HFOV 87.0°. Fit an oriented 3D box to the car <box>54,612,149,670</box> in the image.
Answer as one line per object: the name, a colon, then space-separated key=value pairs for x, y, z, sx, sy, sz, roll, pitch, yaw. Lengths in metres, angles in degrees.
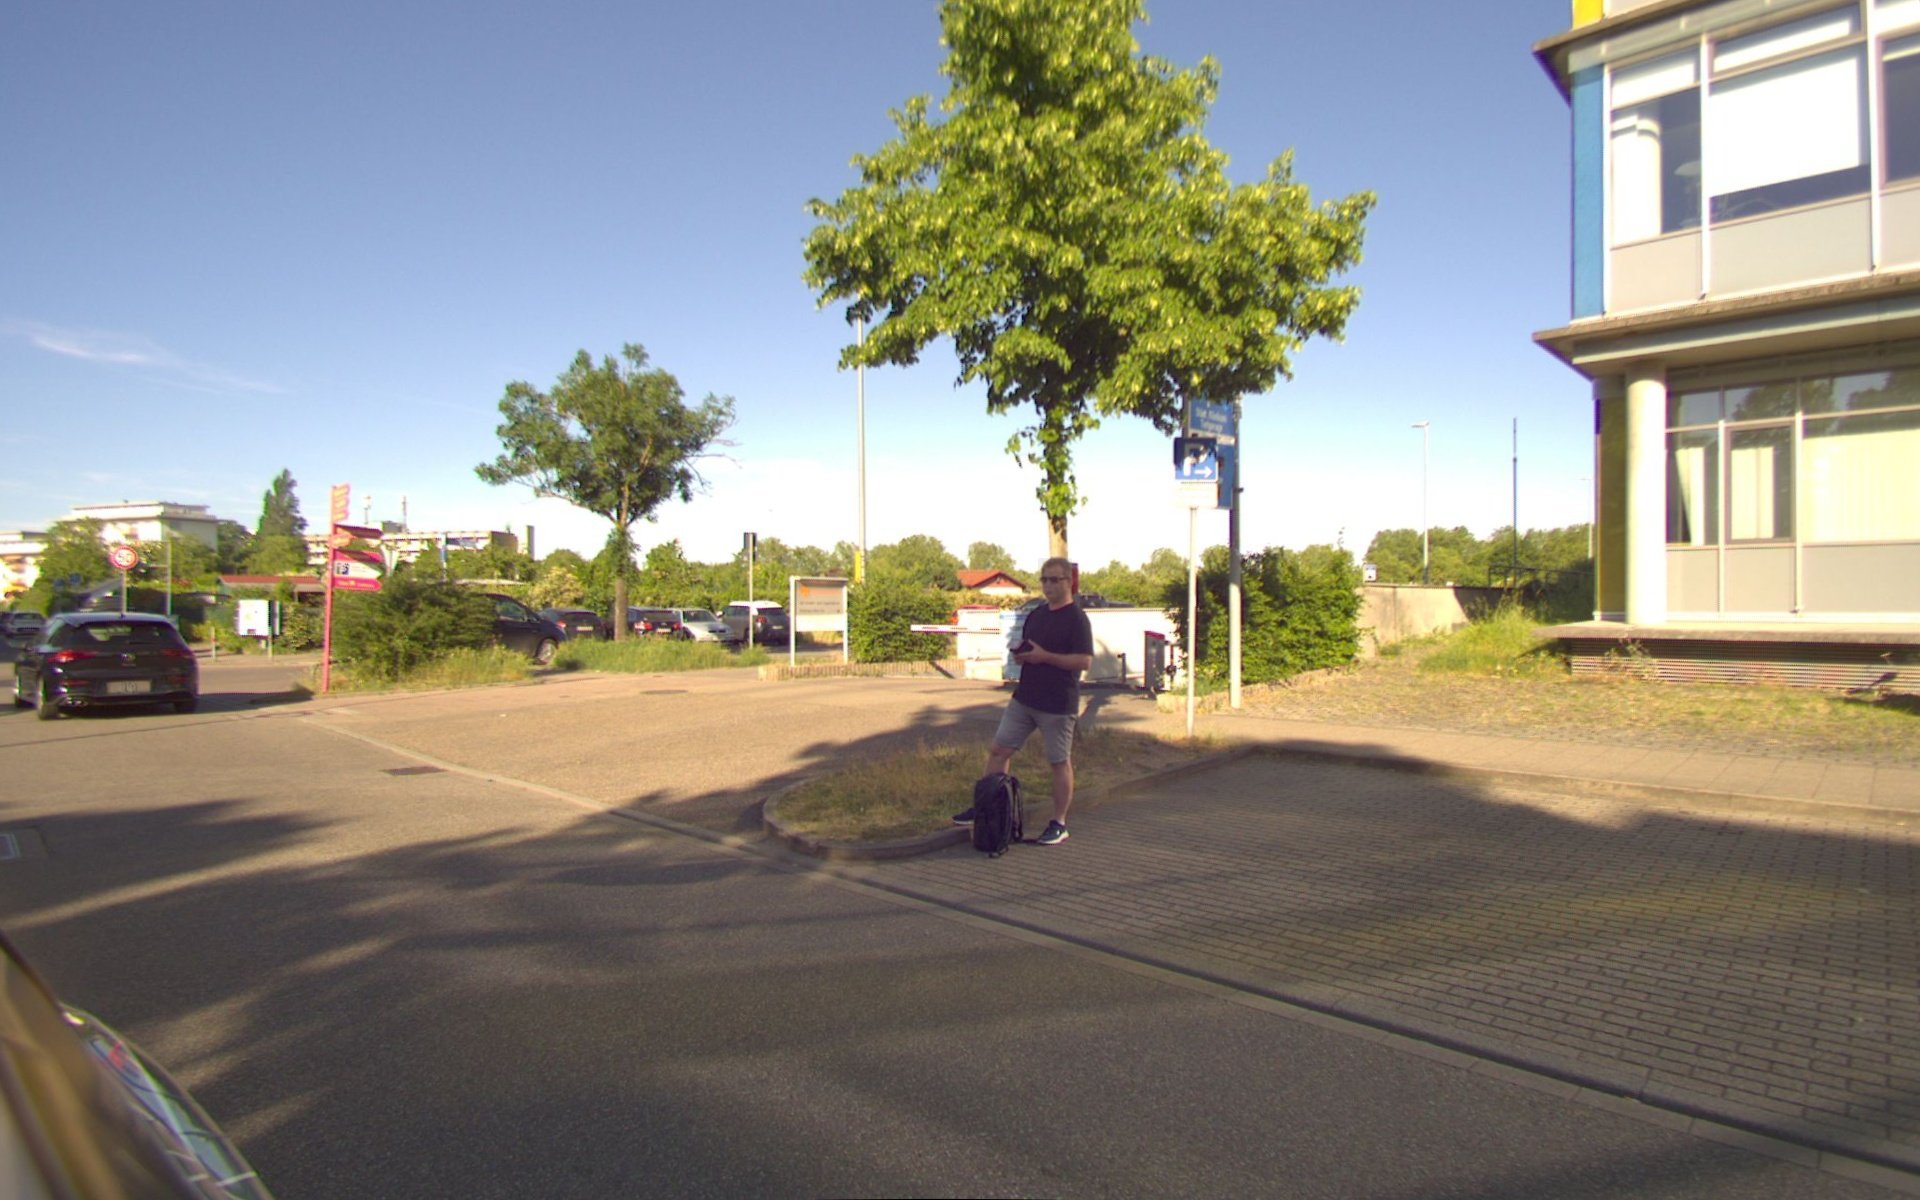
car: x=-25.996 y=1.202 z=30.599 sx=4.518 sy=1.524 sz=1.677 roll=-2 pitch=1 yaw=44

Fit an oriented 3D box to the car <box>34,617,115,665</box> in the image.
car: x=-30.803 y=1.370 z=35.151 sx=4.543 sy=1.456 sz=1.727 roll=-1 pitch=2 yaw=44

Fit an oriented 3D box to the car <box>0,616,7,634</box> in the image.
car: x=-77.384 y=1.983 z=80.759 sx=4.387 sy=1.440 sz=1.677 roll=-1 pitch=-1 yaw=44

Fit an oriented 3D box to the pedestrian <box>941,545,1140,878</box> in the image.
pedestrian: x=0.498 y=0.615 z=6.243 sx=0.848 sy=1.856 sz=0.826 roll=-2 pitch=1 yaw=-44

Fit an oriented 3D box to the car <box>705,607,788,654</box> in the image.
car: x=-8.193 y=1.136 z=38.656 sx=1.487 sy=1.707 sz=3.852 roll=0 pitch=-1 yaw=-40

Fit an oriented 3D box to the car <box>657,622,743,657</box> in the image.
car: x=-9.451 y=1.401 z=36.570 sx=1.487 sy=1.160 sz=3.852 roll=0 pitch=-1 yaw=-40

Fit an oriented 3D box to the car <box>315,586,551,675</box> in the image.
car: x=-13.102 y=0.693 z=25.614 sx=1.948 sy=1.881 sz=5.216 roll=-2 pitch=1 yaw=22

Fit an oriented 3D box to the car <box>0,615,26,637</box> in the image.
car: x=-64.119 y=1.737 z=67.994 sx=4.518 sy=1.434 sz=1.677 roll=-1 pitch=1 yaw=44

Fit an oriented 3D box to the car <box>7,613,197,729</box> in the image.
car: x=-12.677 y=0.938 z=14.872 sx=4.087 sy=1.462 sz=1.685 roll=-1 pitch=-2 yaw=43

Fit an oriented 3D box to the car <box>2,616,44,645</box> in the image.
car: x=-51.629 y=1.655 z=55.747 sx=3.402 sy=1.499 sz=1.510 roll=-1 pitch=0 yaw=44

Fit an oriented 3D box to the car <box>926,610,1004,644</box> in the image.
car: x=0.191 y=1.254 z=47.326 sx=1.487 sy=1.496 sz=3.852 roll=0 pitch=-1 yaw=-40
